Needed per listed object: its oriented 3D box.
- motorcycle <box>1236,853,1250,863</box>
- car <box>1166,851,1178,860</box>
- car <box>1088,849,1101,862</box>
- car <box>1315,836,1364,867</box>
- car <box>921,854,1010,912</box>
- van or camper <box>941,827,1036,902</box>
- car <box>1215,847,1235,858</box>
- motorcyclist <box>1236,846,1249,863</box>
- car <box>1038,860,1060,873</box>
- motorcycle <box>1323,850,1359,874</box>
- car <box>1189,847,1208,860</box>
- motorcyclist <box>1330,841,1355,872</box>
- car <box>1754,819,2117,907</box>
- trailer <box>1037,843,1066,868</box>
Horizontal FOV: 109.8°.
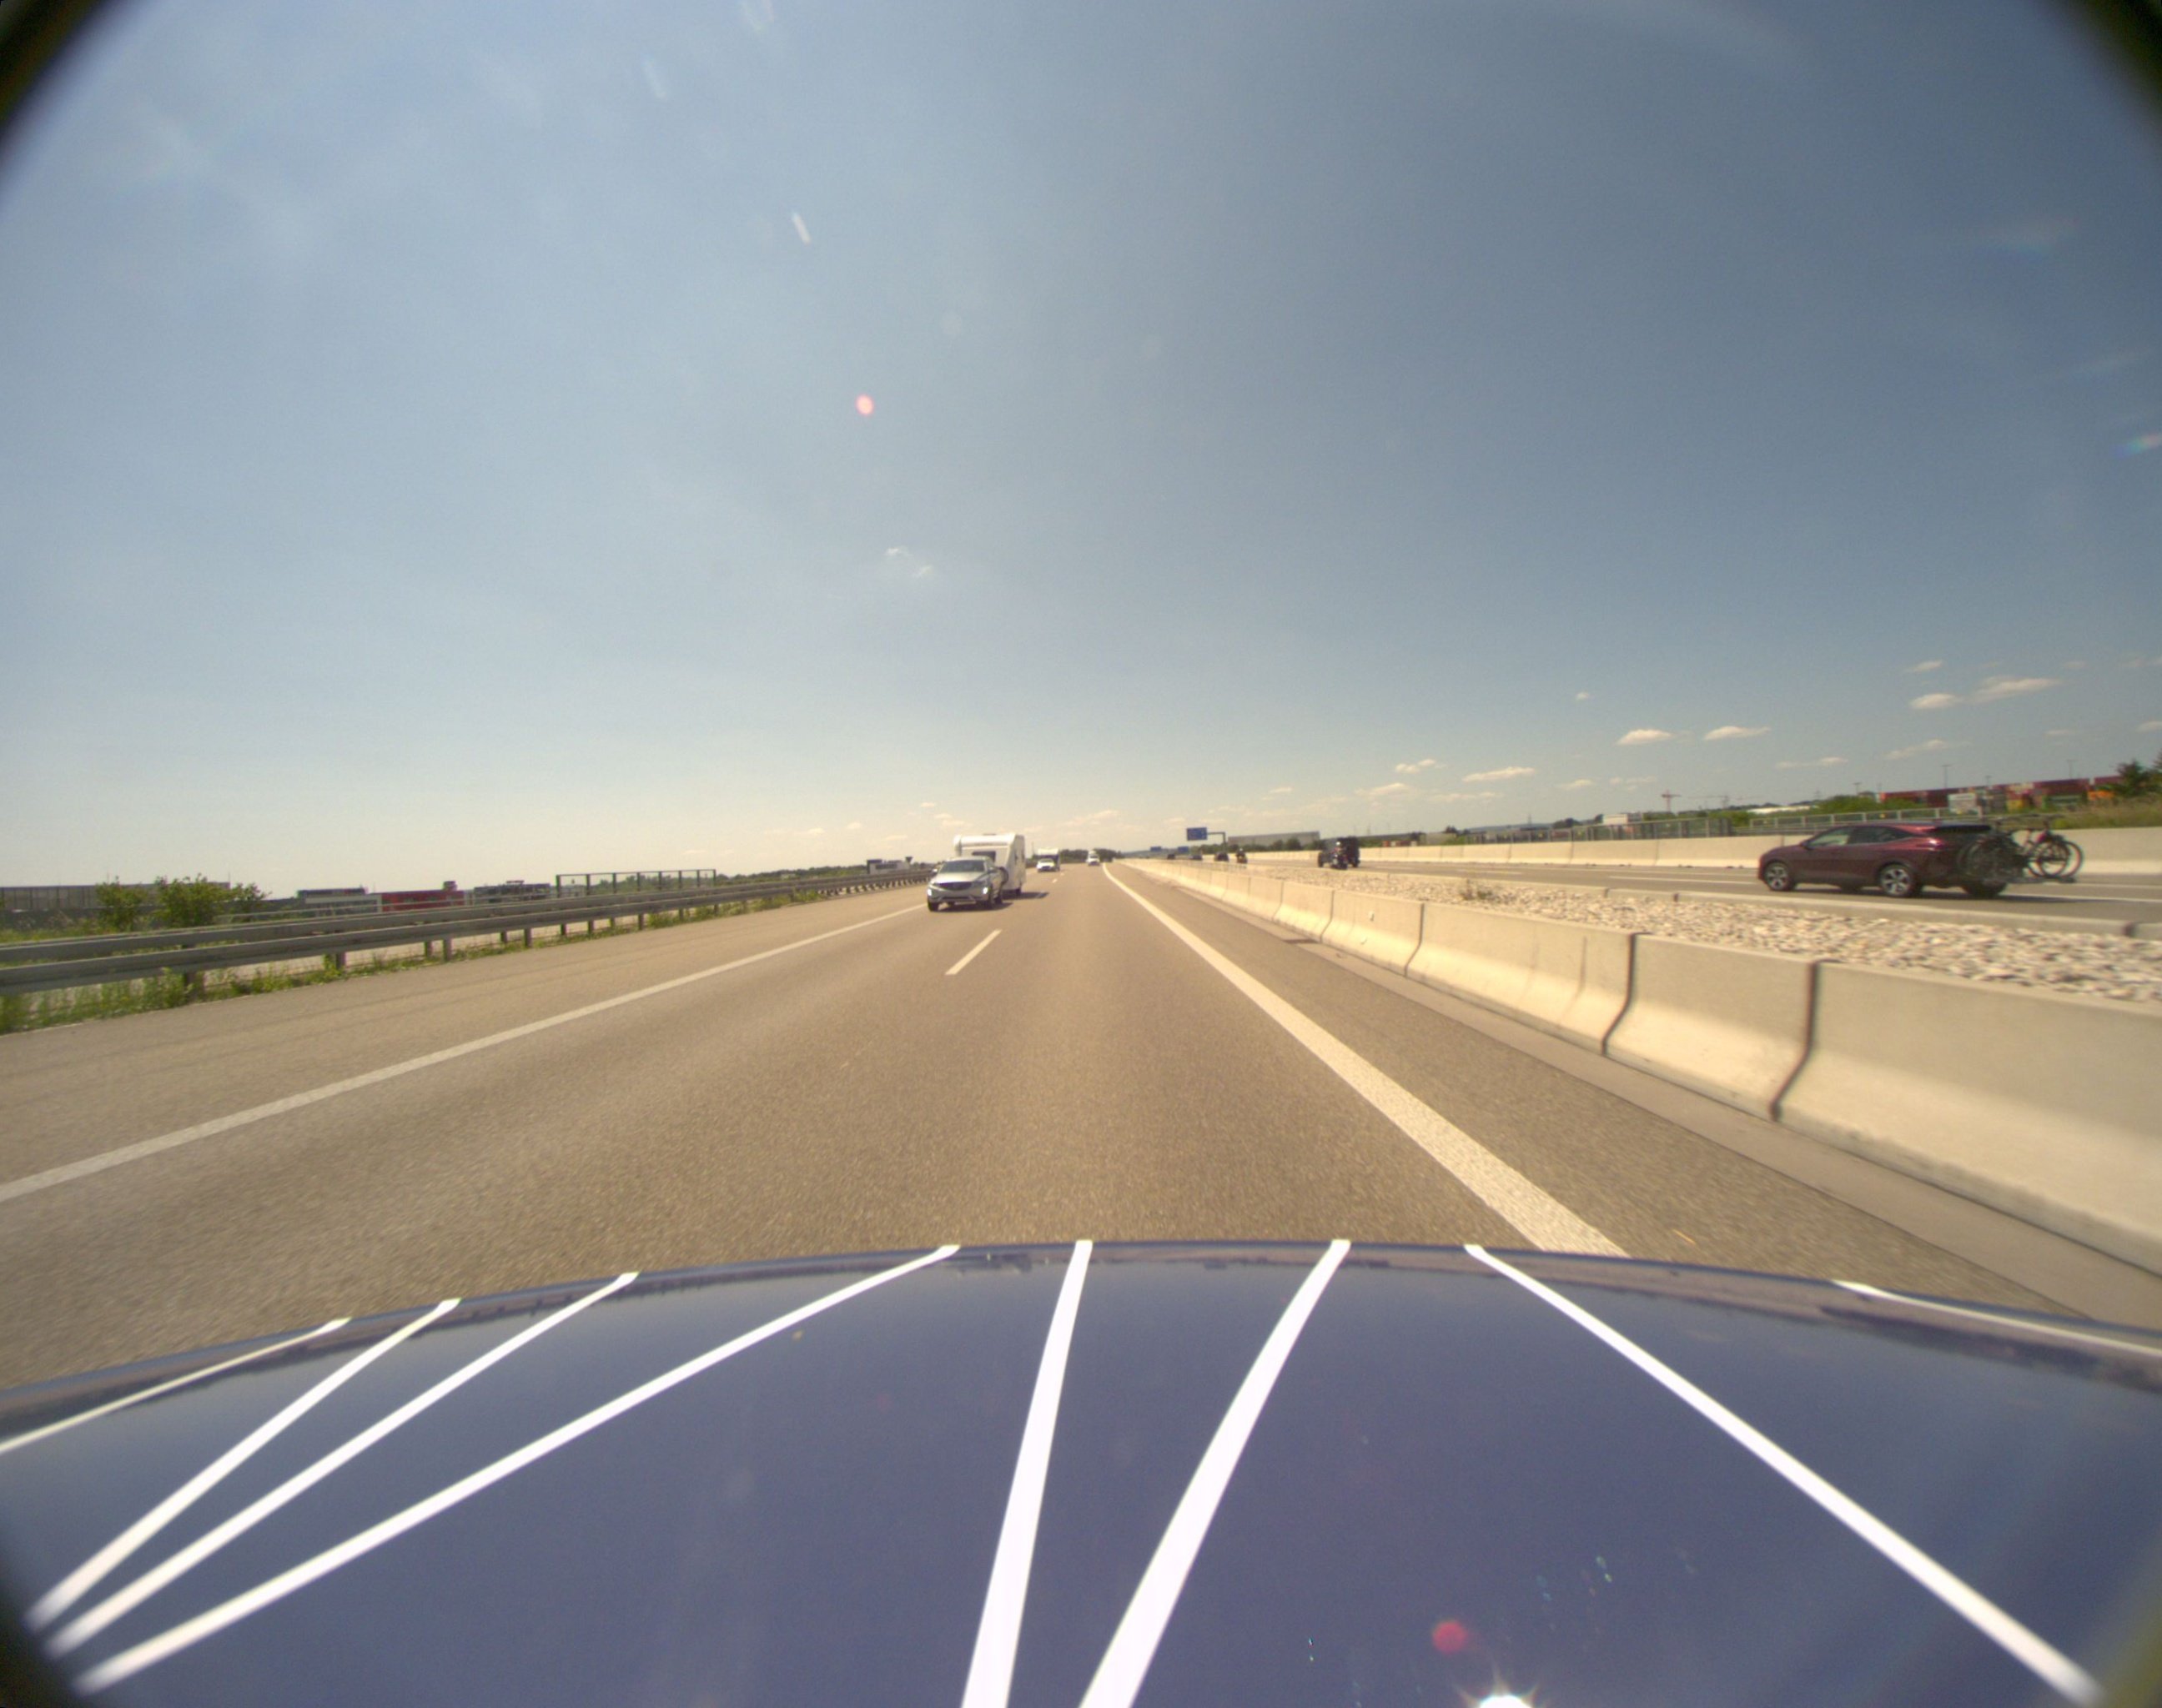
[{"bbox_3d":[14.784,0.351,69.215,0.777,0.897,2.705,-2,0,2],"label":"motorcycle"},{"bbox_3d":[18.268,0.362,152.501,1.889,1.676,5.016,-2,0,2],"label":"car"},{"bbox_3d":[2.164,0.178,123.389,1.998,2.002,4.000,-2,0,2],"label":"car"},{"bbox_3d":[18.047,-0.143,53.280,1.889,2.006,4.735,-2,0,2],"label":"car"},{"bbox_3d":[-3.587,0.858,24.498,1.885,1.613,4.905,-2,0,2],"label":"car"},{"bbox_3d":[-3.511,0.413,30.765,2.518,2.577,7.819,-2,-1,2],"label":"van or camper"},{"bbox_3d":[20.316,-0.205,107.186,1.915,1.450,4.284,-2,0,0],"label":"car"},{"bbox_3d":[14.791,0.042,69.520,0.920,1.488,0.923,-2,1,2],"label":"motorcyclist"},{"bbox_3d":[-3.414,1.295,81.769,1.872,1.351,3.674,-1,0,4],"label":"car"},{"bbox_3d":[13.657,0.416,40.001,0.960,1.162,2.722,-2,0,2],"label":"motorcycle"},{"bbox_3d":[16.189,-0.067,104.990,1.998,1.659,4.650,-2,0,3],"label":"car"},{"bbox_3d":[13.631,0.126,39.675,0.922,1.612,1.088,-2,1,2],"label":"motorcyclist"},{"bbox_3d":[17.390,0.169,16.006,1.873,1.482,5.139,-2,0,1],"label":"car"},{"bbox_3d":[-3.283,0.168,87.176,2.500,2.686,7.157,-2,-1,4],"label":"trailer"}]
